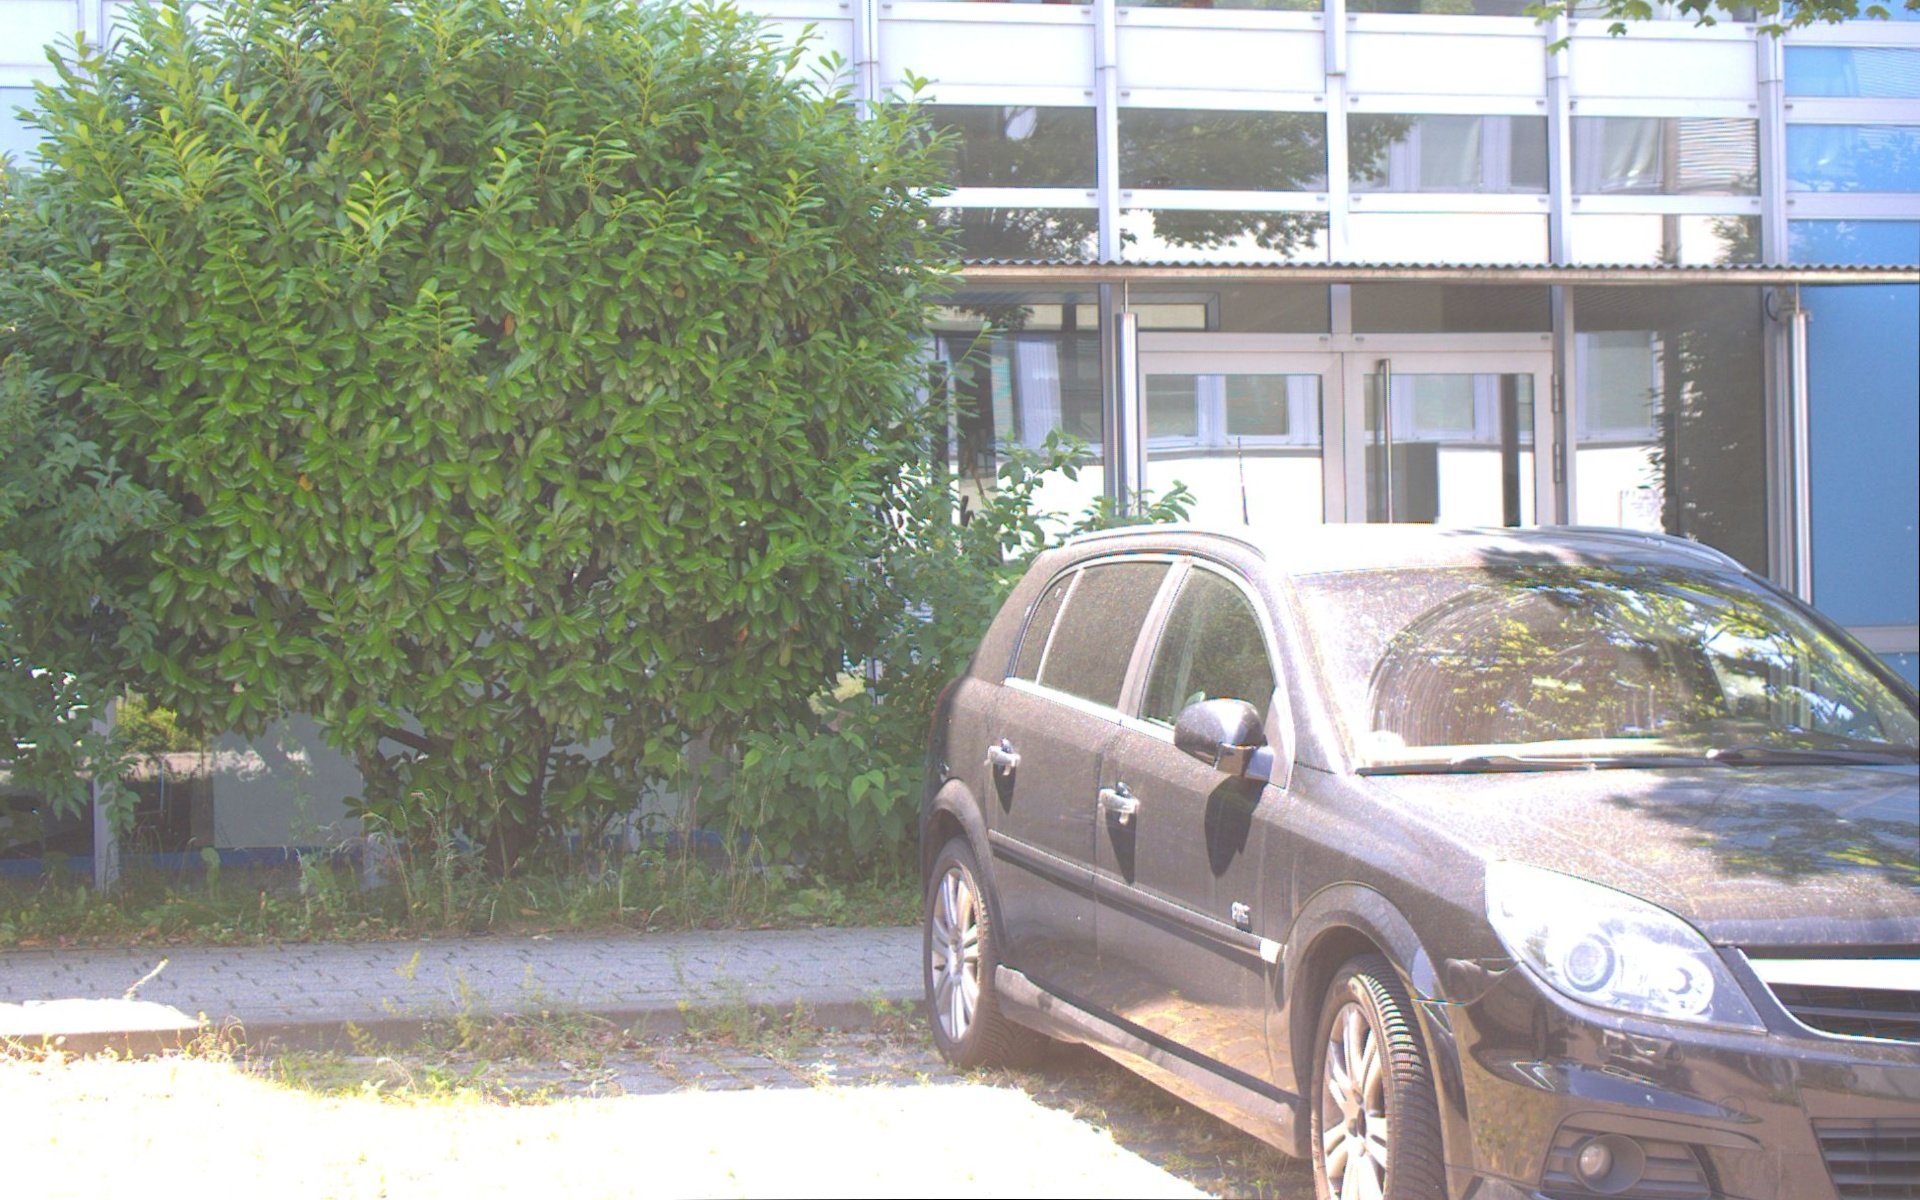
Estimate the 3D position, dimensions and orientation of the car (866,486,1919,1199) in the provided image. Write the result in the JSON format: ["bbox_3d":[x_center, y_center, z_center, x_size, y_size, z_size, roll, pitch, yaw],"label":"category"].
[{"bbox_3d":[1.178,0.564,8.020,1.757,1.544,4.567,1,1,-15],"label":"car"}]
